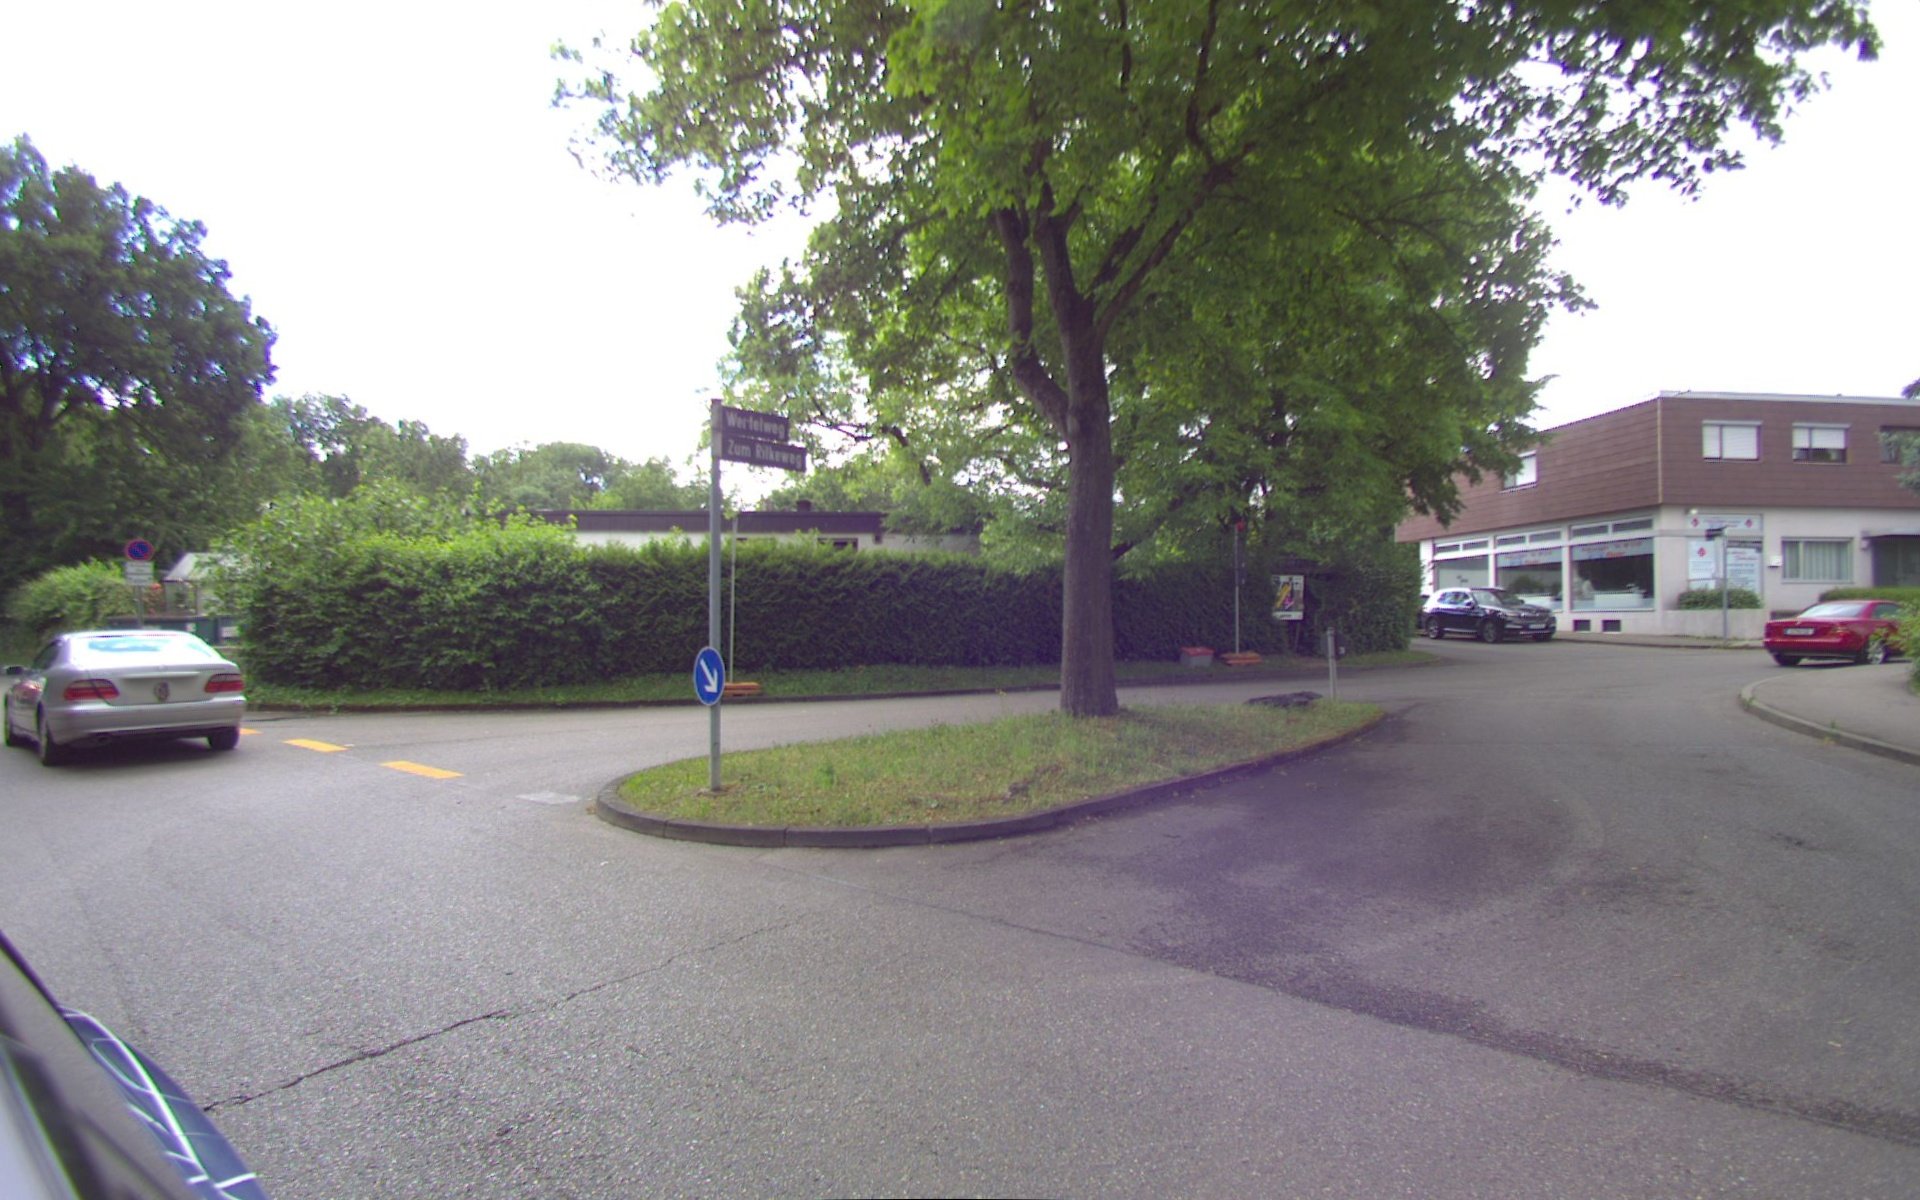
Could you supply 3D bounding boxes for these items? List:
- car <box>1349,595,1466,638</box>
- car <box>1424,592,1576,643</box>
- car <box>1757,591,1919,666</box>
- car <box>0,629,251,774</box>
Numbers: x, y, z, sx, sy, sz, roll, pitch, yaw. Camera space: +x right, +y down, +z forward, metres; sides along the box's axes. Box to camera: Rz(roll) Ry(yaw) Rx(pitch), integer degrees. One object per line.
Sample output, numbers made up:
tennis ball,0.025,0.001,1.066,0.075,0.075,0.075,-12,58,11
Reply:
car,16.016,0.582,36.467,1.943,1.386,4.007,-2,-1,-8
car,16.500,0.538,31.201,1.969,1.386,4.285,-3,-1,-6
car,17.807,0.516,19.587,3.996,1.346,1.761,-1,-1,-17
car,-9.693,1.013,11.581,4.296,1.316,1.761,-2,-1,43
